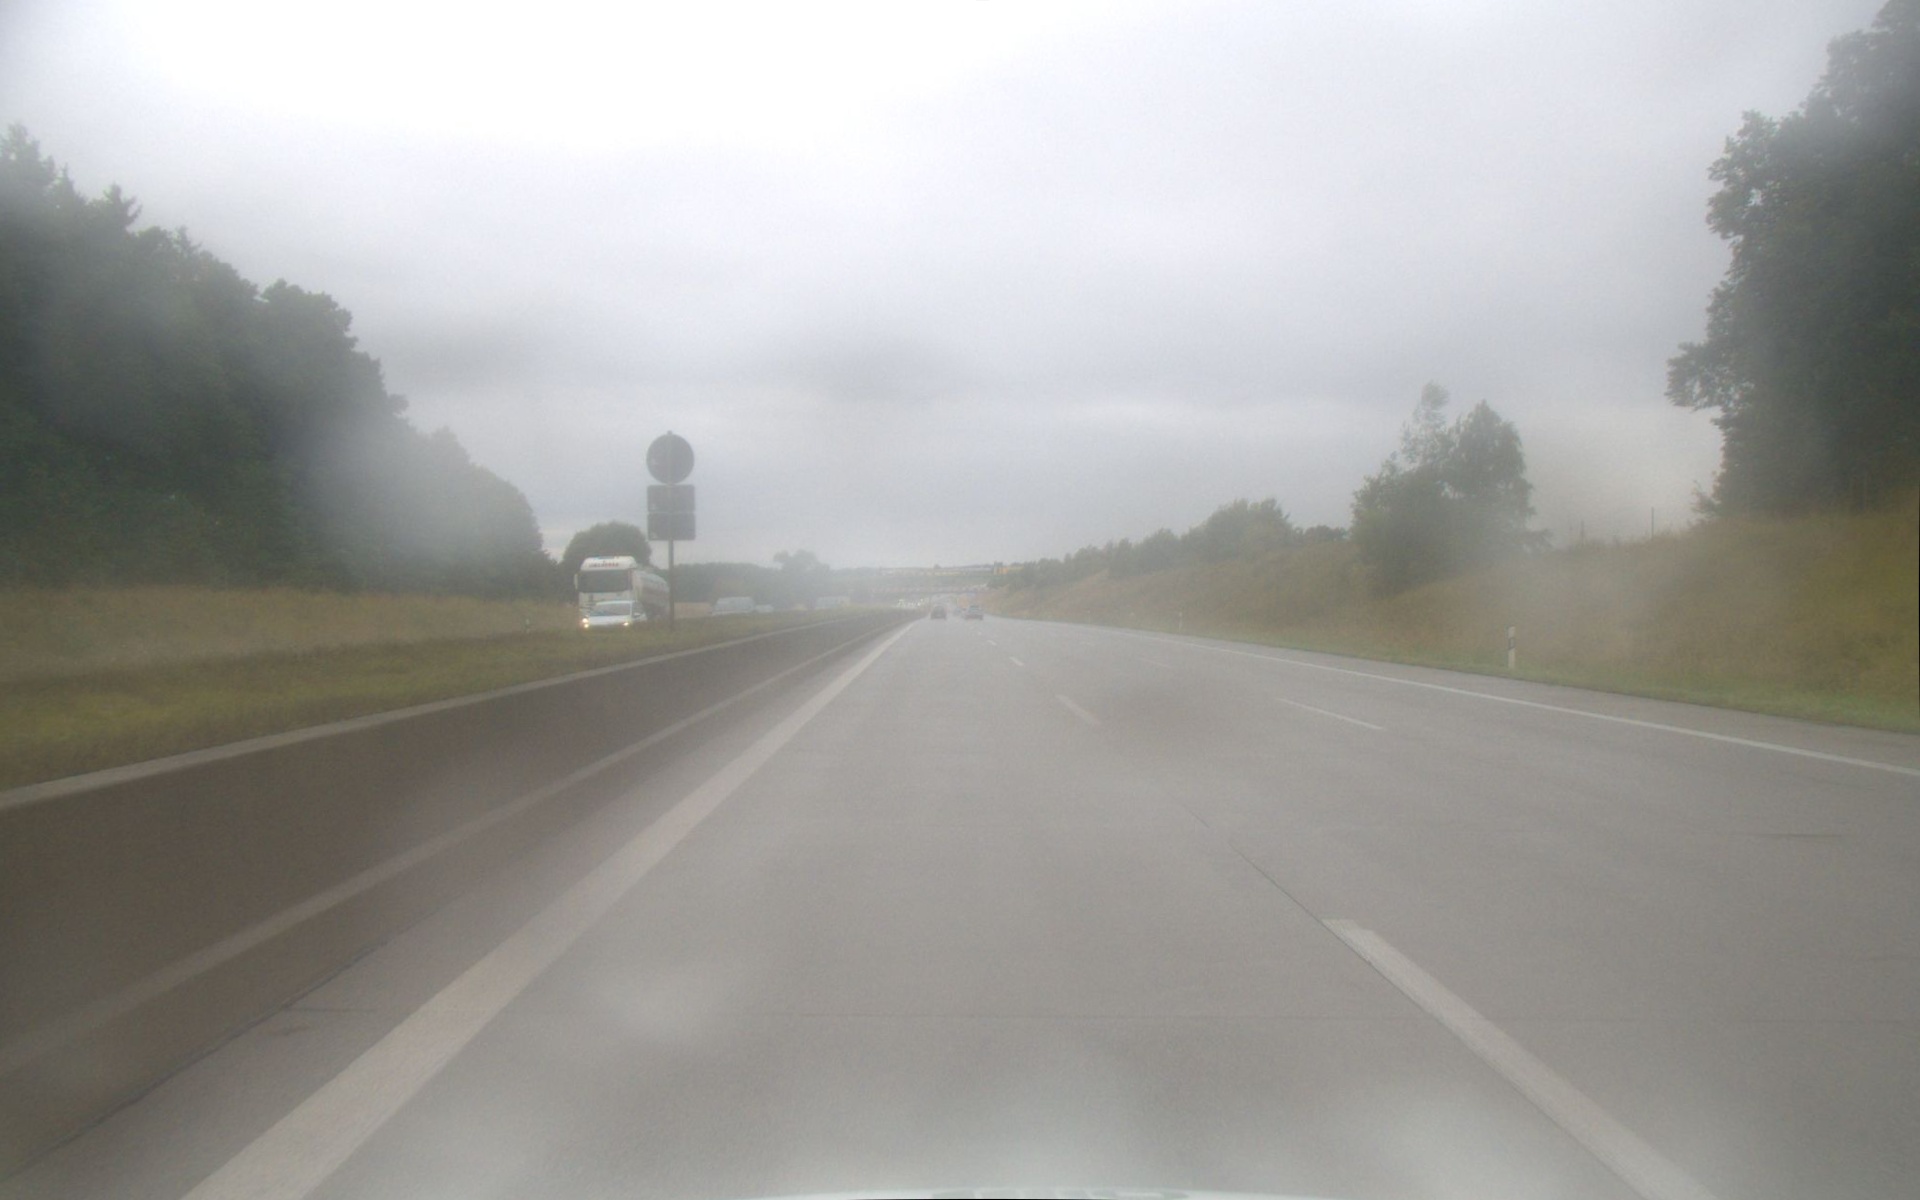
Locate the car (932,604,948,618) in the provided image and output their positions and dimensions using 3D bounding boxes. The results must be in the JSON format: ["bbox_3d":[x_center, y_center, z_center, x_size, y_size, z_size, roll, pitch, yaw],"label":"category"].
[{"bbox_3d":[-2.134,1.166,179.179,1.694,1.354,4.429,0,1,-1],"label":"car"}]

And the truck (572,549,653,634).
[{"bbox_3d":[-16.628,-0.482,79.508,2.610,3.942,6.435,0,1,-1],"label":"truck"}]

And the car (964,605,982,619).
[{"bbox_3d":[1.360,1.210,172.722,1.810,1.354,4.429,0,1,-1],"label":"car"}]

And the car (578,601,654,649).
[{"bbox_3d":[-12.556,0.895,60.615,1.953,1.656,4.558,-1,0,-2],"label":"car"}]

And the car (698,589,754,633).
[{"bbox_3d":[-9.661,0.424,68.552,1.747,1.716,4.559,-1,0,-1],"label":"car"}]
